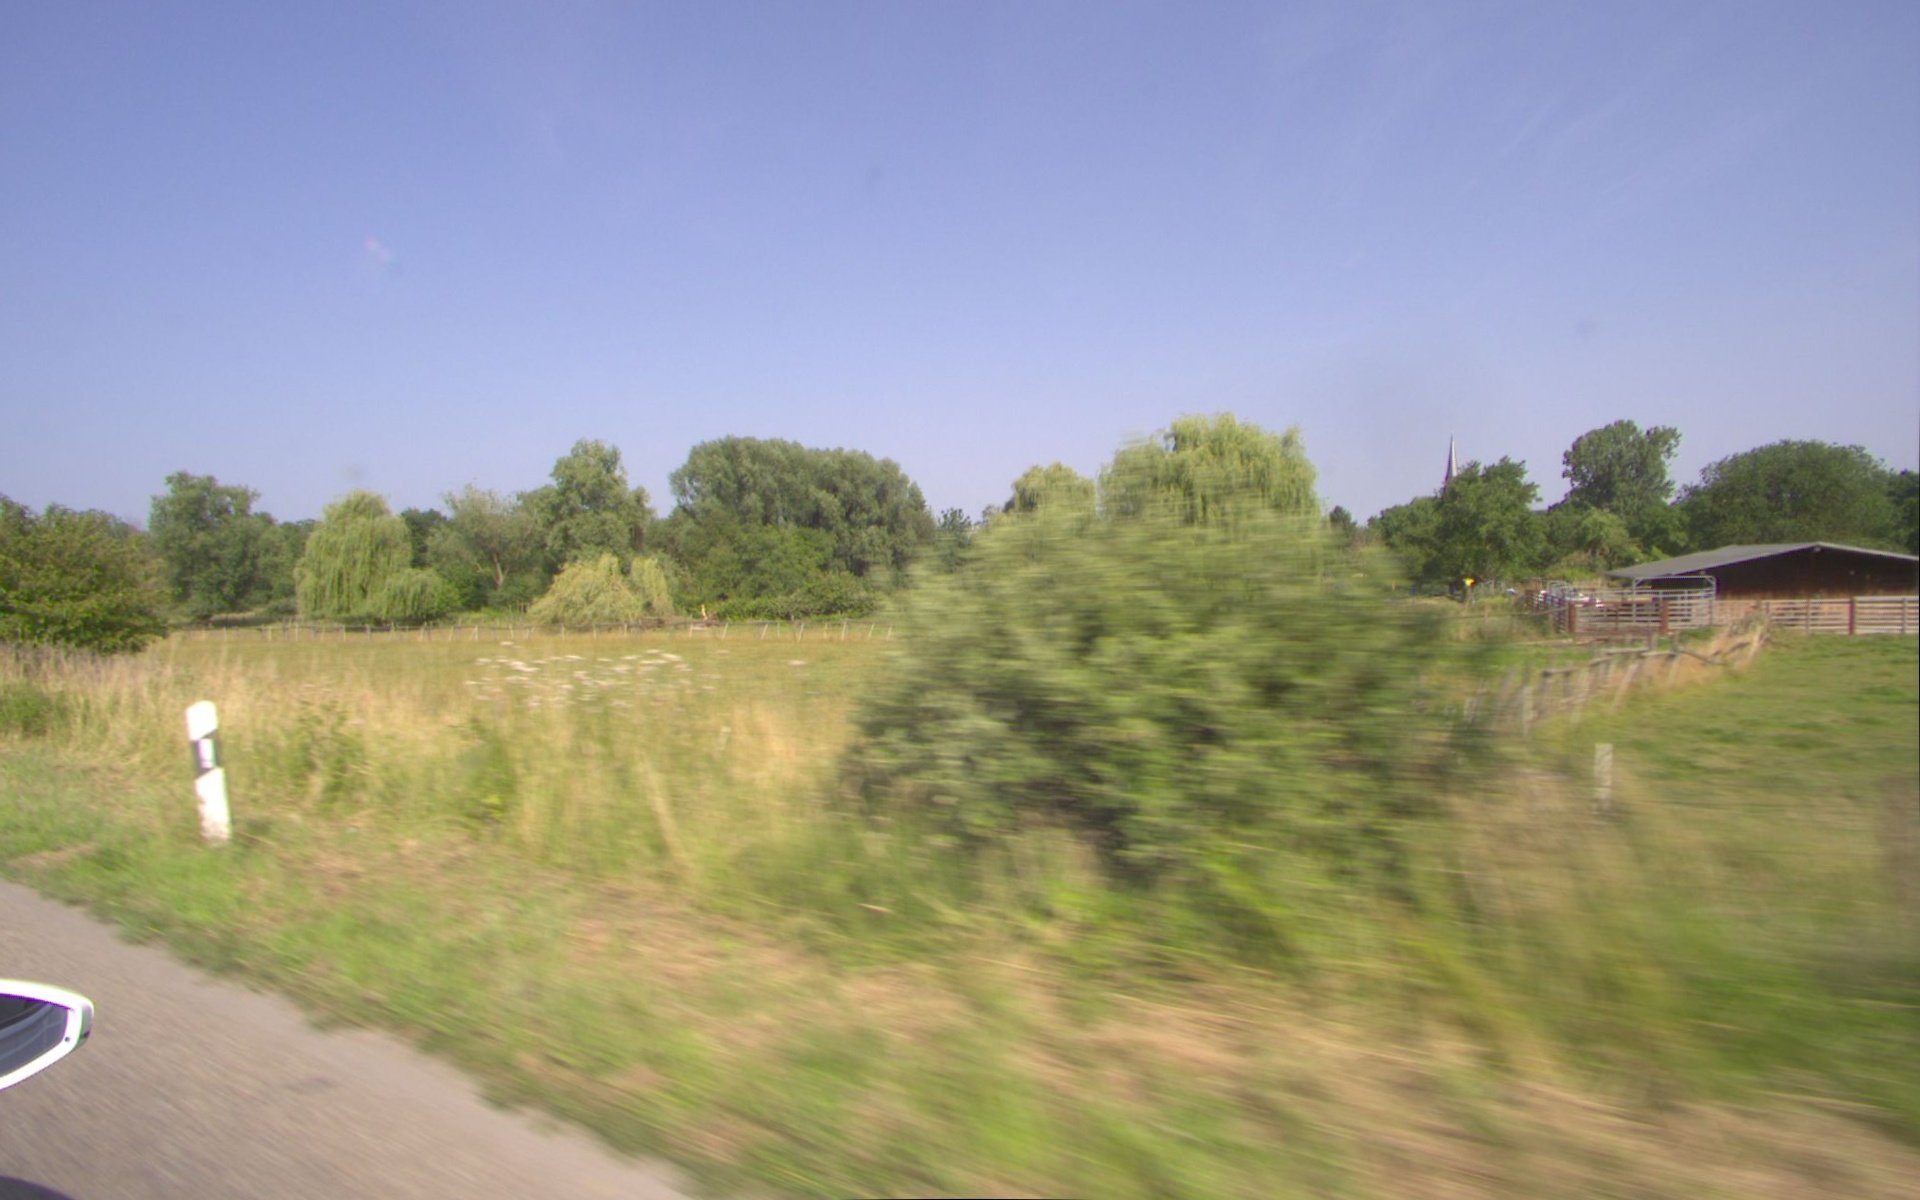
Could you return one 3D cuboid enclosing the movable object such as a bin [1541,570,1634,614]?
[{"bbox_3d":[33.152,-0.395,53.035,4.103,2.223,1.990,0,1,31],"label":"movable object such as a bin"}]
